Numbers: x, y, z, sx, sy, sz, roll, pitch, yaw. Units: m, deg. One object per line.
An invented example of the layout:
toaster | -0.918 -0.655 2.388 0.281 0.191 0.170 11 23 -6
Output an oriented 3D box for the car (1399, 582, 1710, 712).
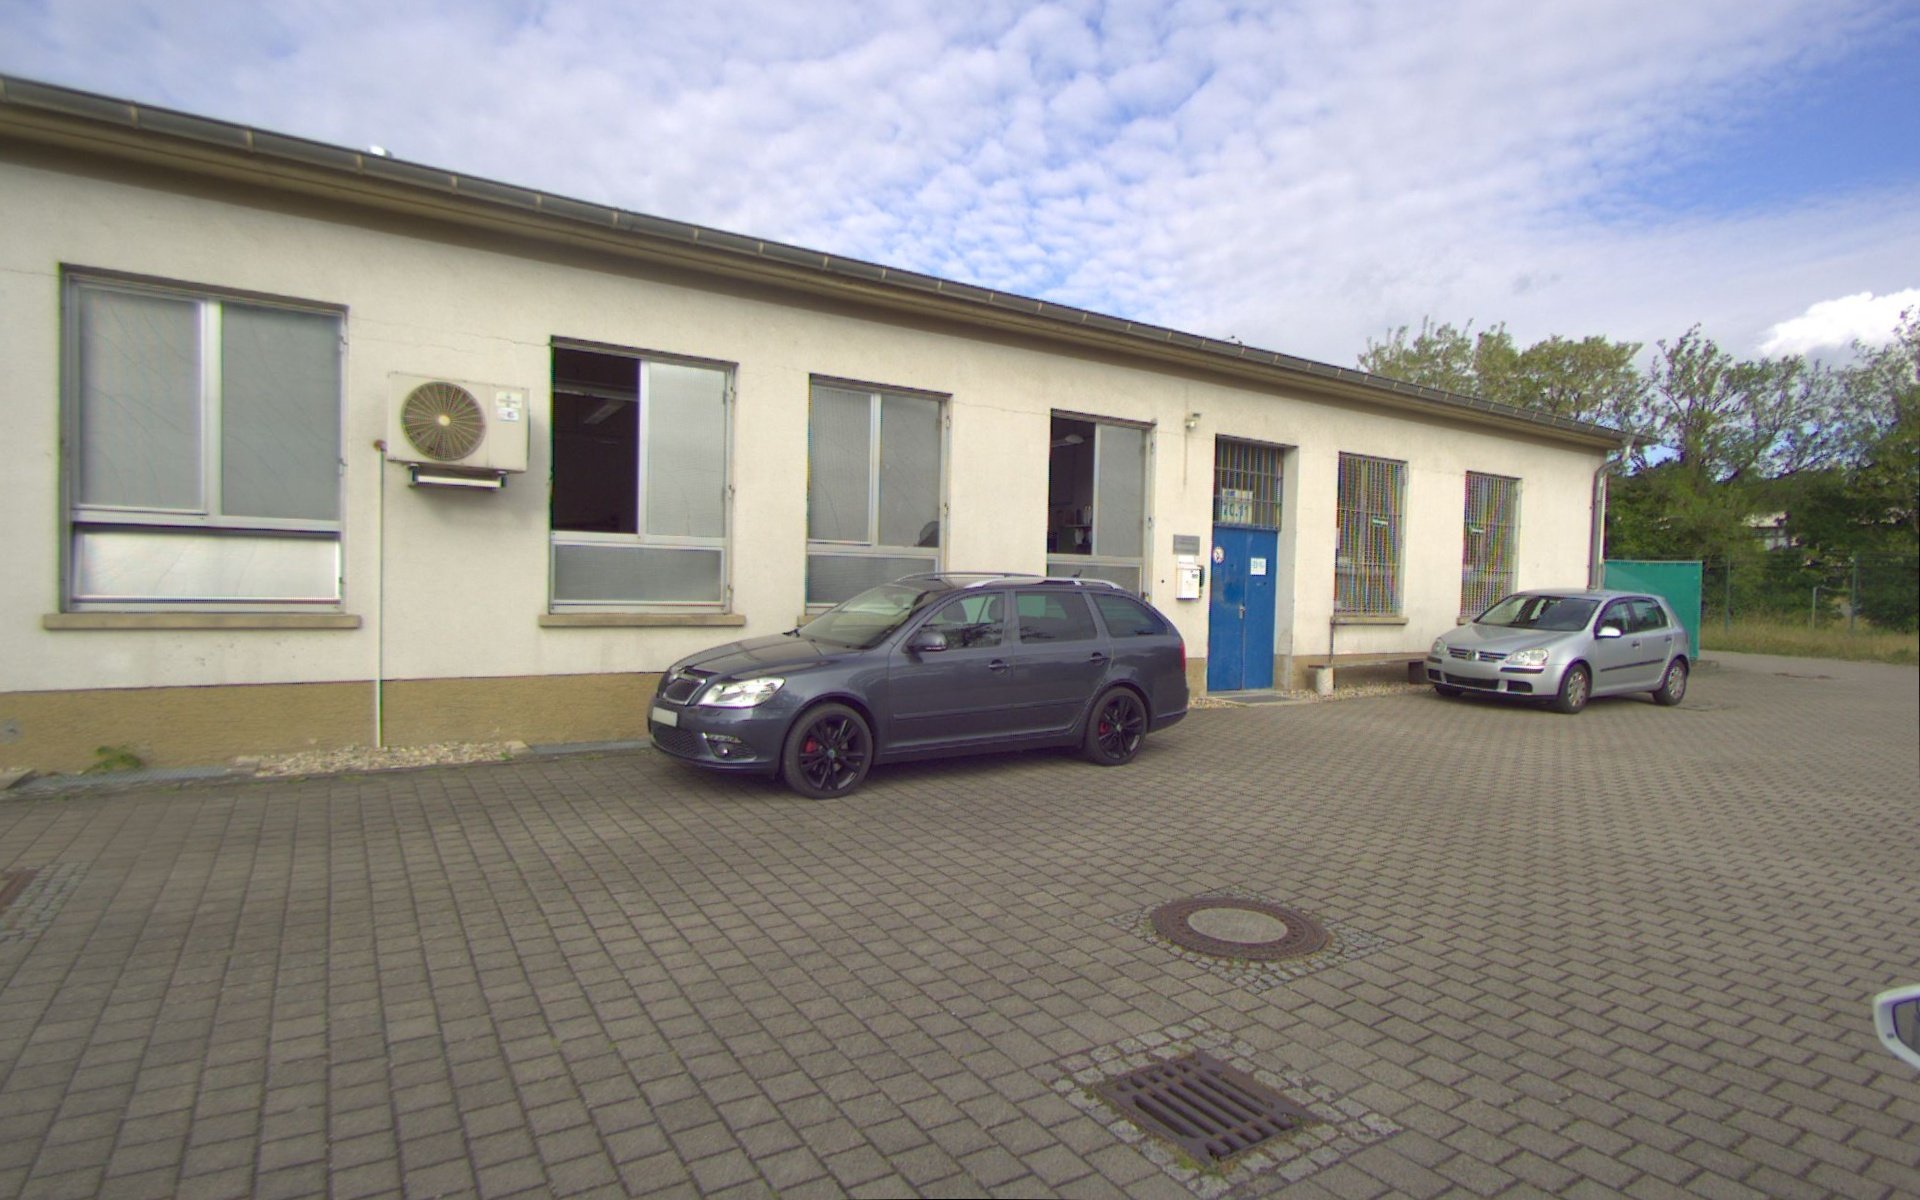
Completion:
car | 8.000 0.517 13.414 4.322 1.458 1.912 0 1 -34

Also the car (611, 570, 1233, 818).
car | -0.148 0.539 8.124 4.761 1.481 1.912 0 1 -34
